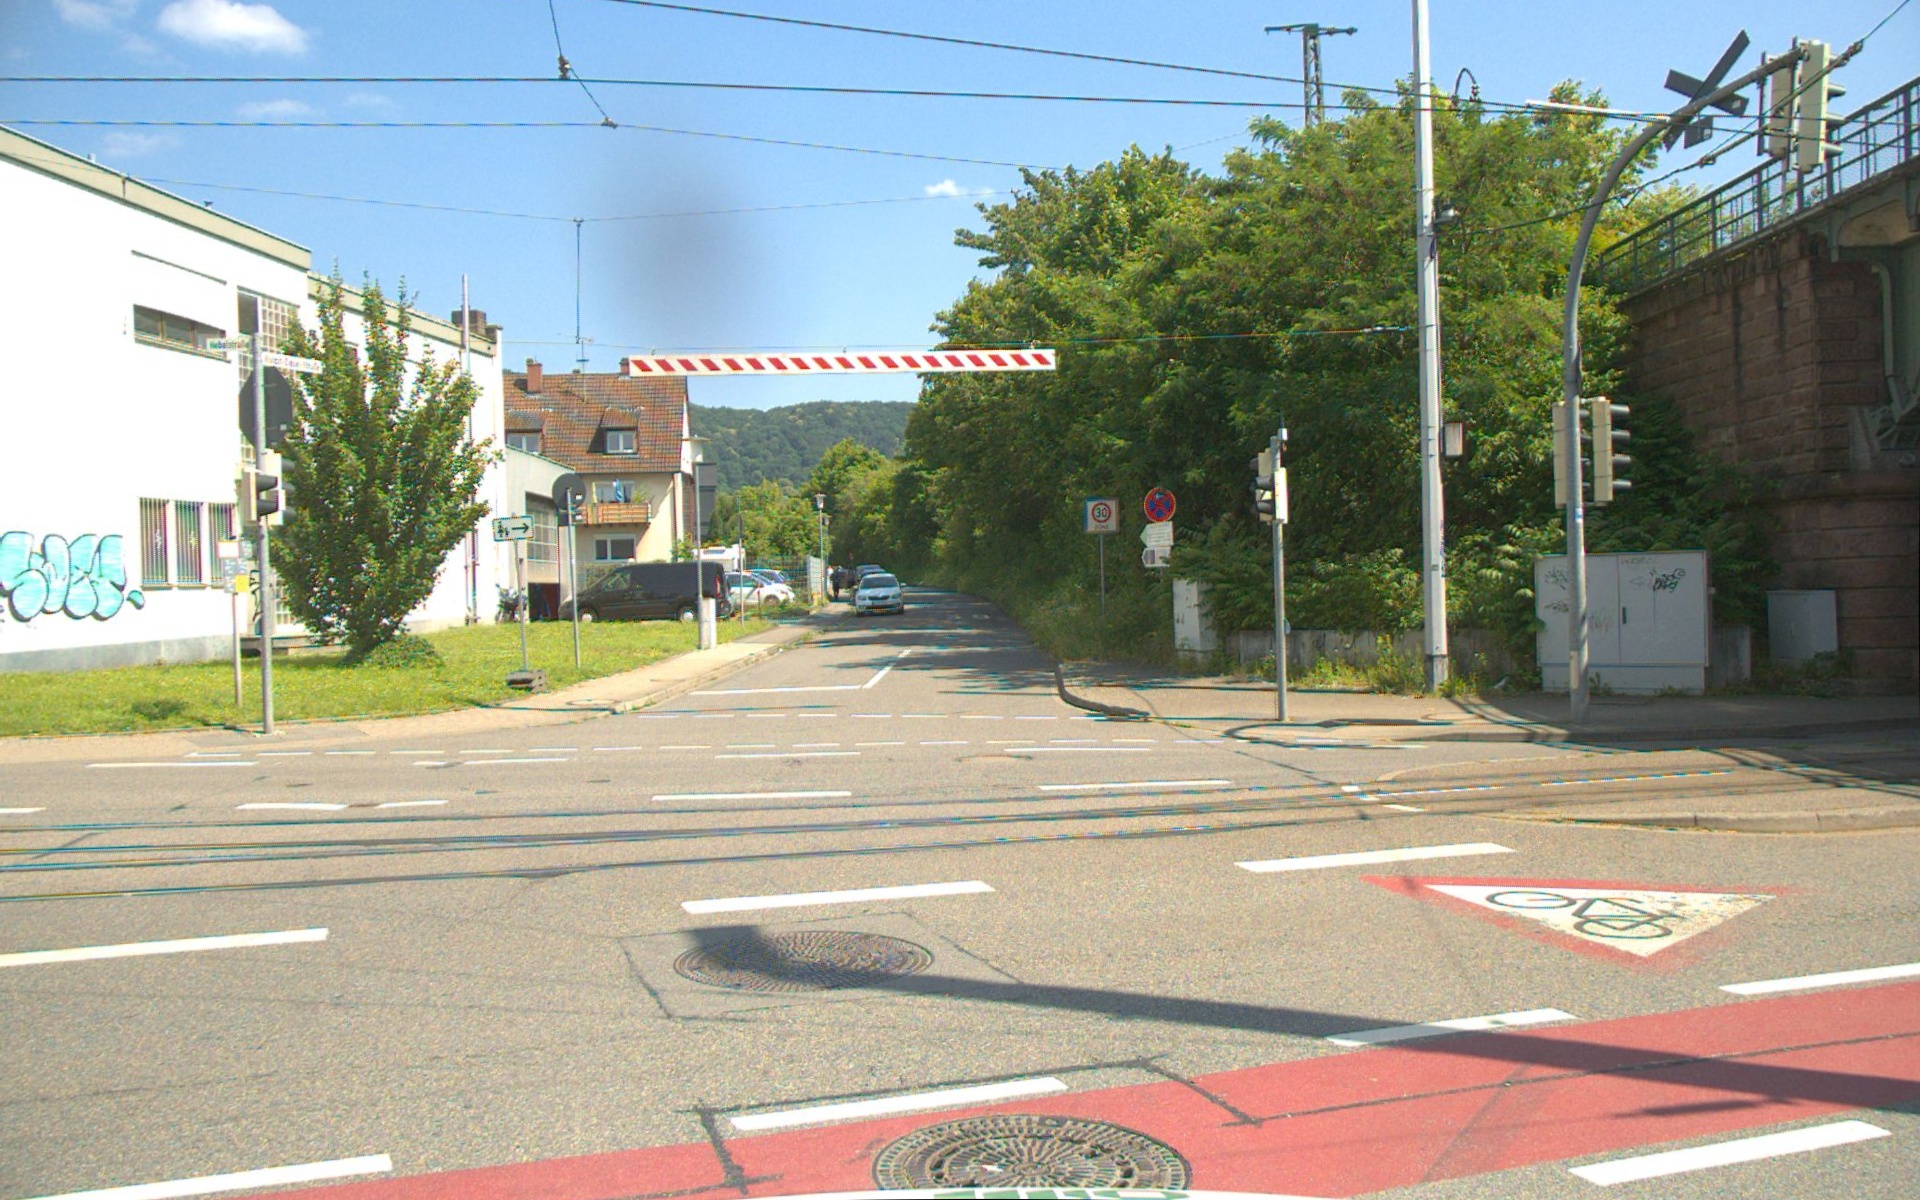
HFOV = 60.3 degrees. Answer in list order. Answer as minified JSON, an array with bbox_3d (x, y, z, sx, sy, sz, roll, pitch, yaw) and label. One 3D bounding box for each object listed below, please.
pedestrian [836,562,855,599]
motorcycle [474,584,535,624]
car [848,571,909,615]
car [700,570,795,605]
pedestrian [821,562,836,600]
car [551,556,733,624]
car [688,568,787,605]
[{"bbox_3d":[-5.463,-0.930,79.244,0.858,1.793,0.731,0,-1,-1],"label":"pedestrian"},{"bbox_3d":[-12.487,0.120,45.430,0.834,1.050,2.568,0,-1,3],"label":"motorcycle"},{"bbox_3d":[-2.992,-0.306,61.323,2.044,1.536,4.539,0,1,0],"label":"car"},{"bbox_3d":[-8.645,-0.510,67.383,3.644,1.395,1.604,0,0,1],"label":"car"},{"bbox_3d":[-6.277,-0.920,79.135,0.640,1.793,0.803,0,-1,-1],"label":"pedestrian"},{"bbox_3d":[-9.653,-0.306,50.579,5.142,1.848,1.999,-2,0,-2],"label":"car"},{"bbox_3d":[-8.666,-0.511,64.652,3.644,1.395,1.604,0,-1,1],"label":"car"}]
